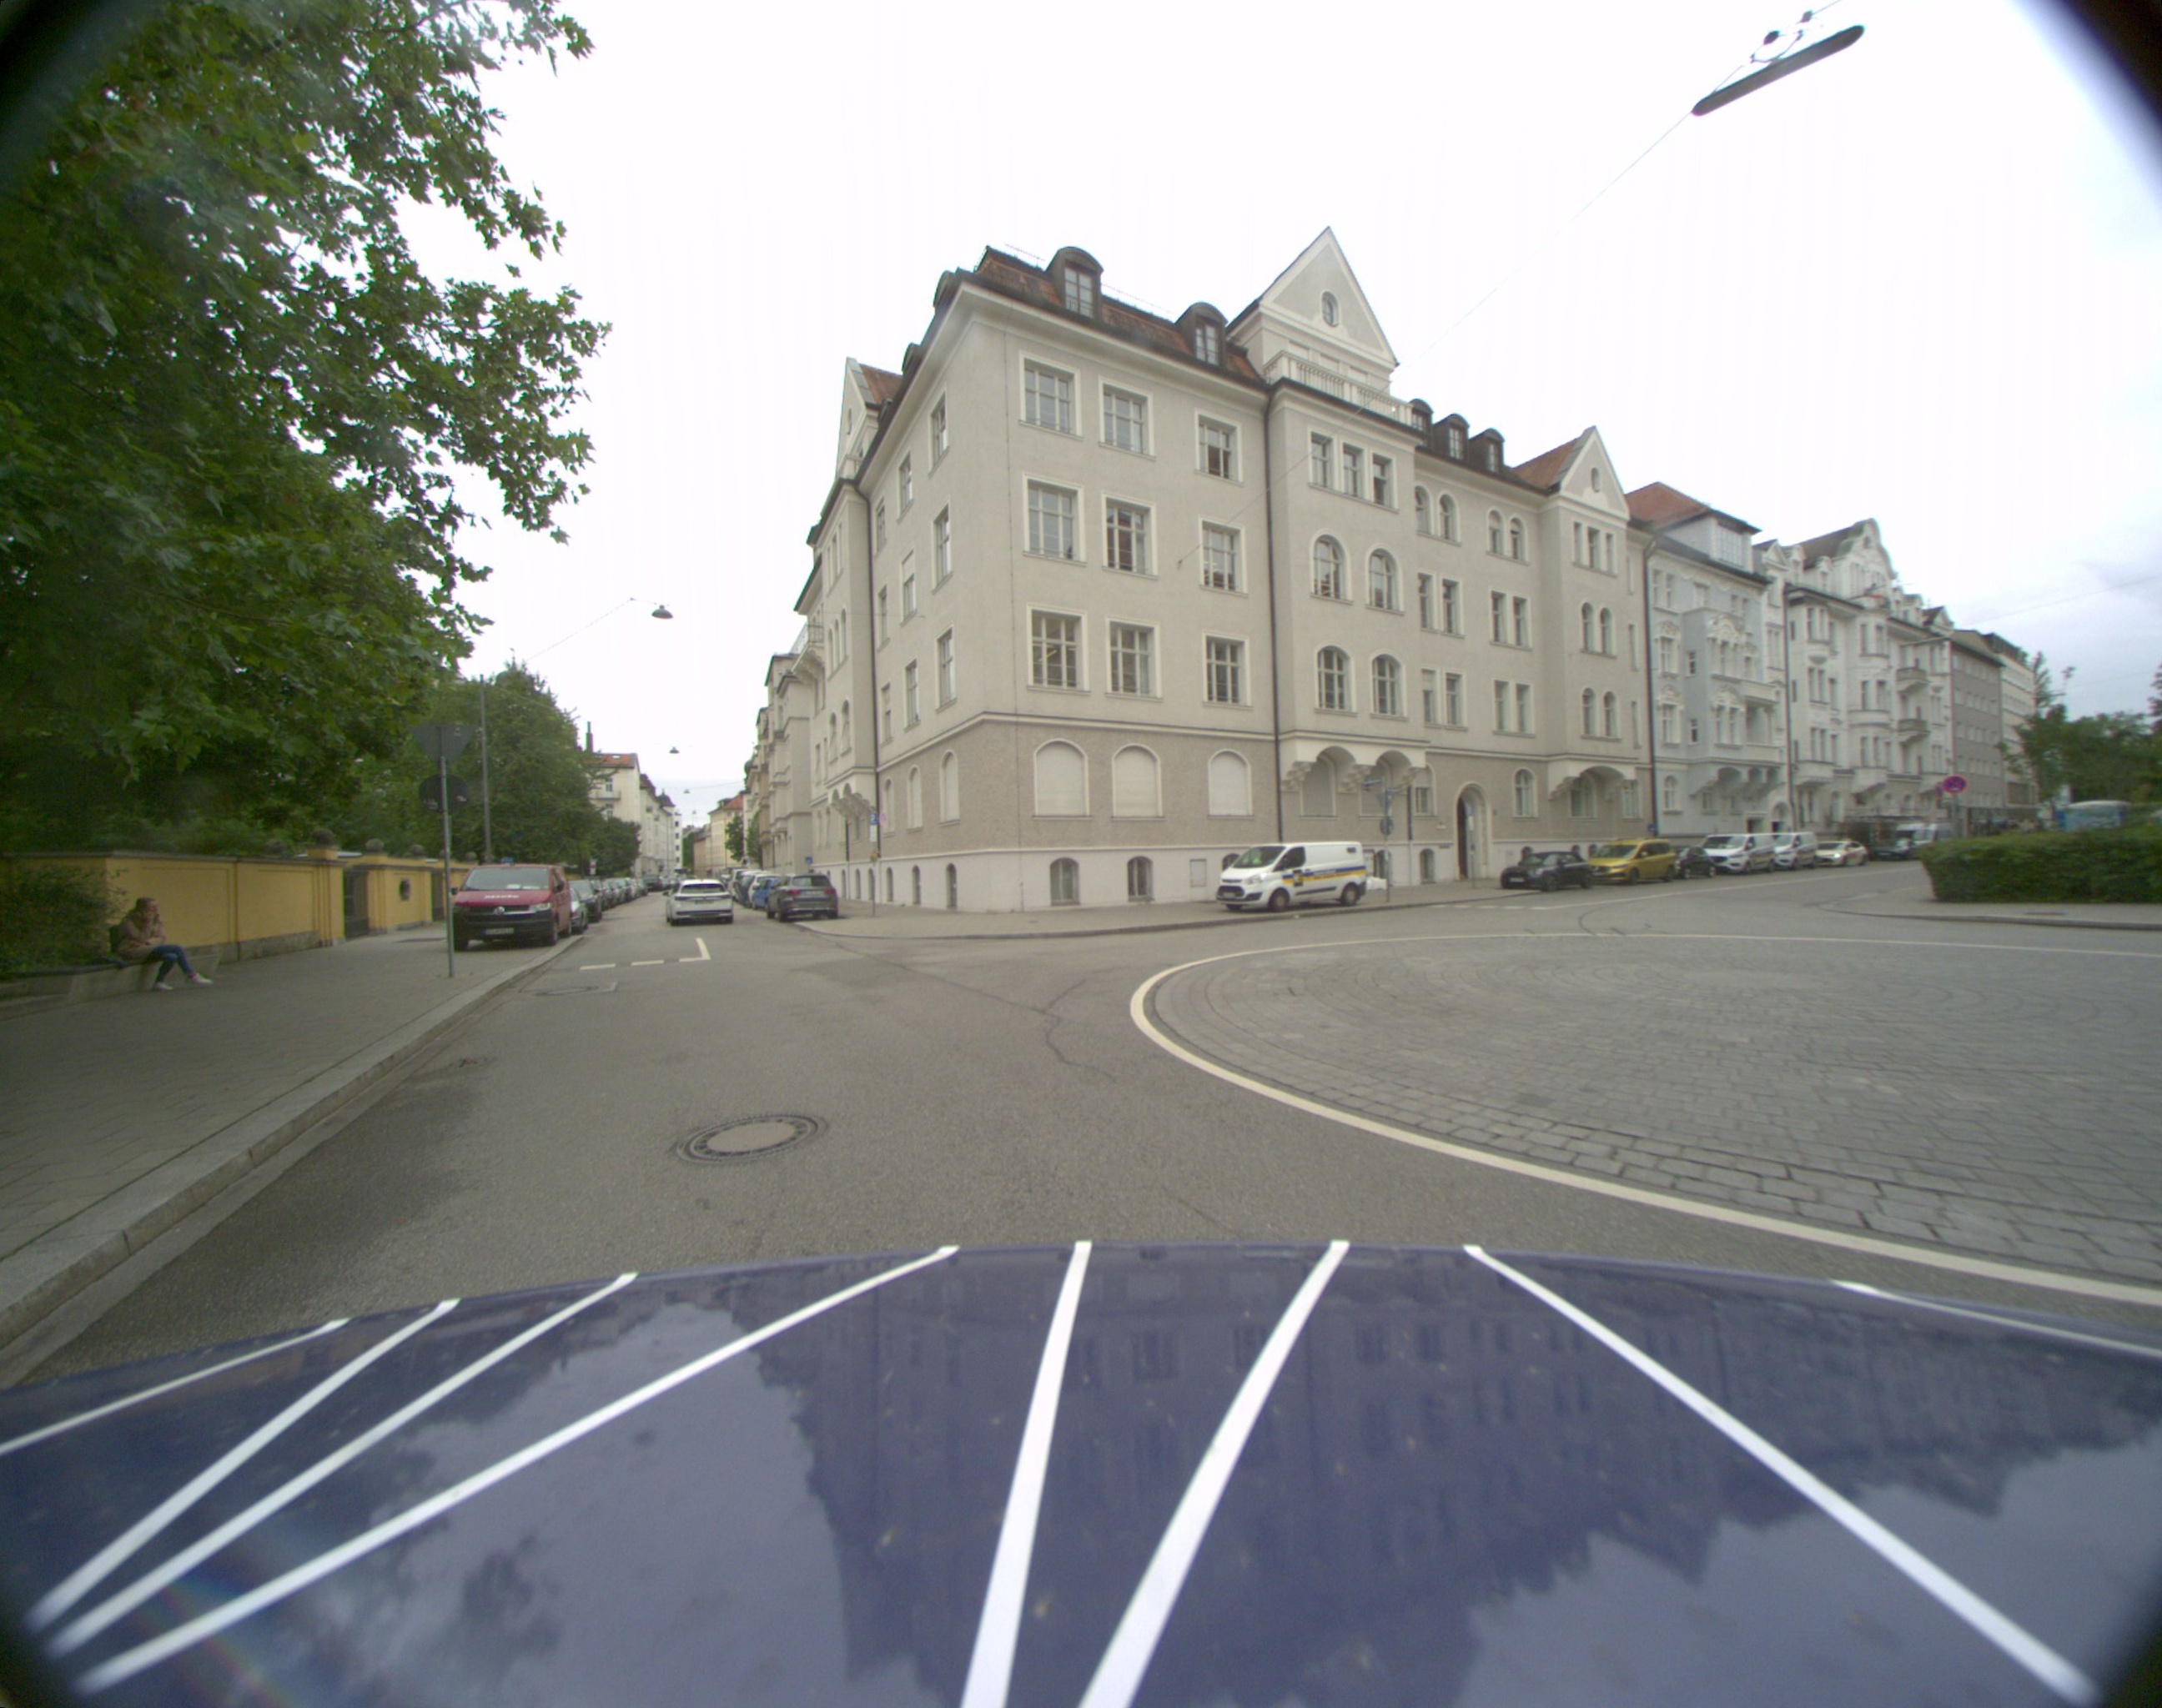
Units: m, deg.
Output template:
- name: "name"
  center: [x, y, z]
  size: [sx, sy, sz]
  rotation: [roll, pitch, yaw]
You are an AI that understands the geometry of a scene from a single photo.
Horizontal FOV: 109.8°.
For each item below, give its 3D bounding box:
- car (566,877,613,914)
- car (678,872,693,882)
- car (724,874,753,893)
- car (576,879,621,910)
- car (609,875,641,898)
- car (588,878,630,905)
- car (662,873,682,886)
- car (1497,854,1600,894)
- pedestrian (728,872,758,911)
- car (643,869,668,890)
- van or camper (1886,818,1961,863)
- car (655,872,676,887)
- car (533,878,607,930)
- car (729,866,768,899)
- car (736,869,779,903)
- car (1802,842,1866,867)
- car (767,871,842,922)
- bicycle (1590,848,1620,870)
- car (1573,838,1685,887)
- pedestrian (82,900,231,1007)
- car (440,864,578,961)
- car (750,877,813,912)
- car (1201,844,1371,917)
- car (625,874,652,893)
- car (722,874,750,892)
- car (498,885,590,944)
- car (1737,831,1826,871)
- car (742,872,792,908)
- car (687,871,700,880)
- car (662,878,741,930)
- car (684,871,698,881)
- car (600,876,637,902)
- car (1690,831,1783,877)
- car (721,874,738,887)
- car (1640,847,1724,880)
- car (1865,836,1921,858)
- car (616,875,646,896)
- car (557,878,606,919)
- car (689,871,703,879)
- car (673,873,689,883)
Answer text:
- name: "car"
  center: [-23.712, 1.961, 36.755]
  size: [1.514, 1.557, 2.863]
  rotation: [-4, 1, -27]
- name: "car"
  center: [-70.954, 4.134, 136.445]
  size: [2.002, 1.585, 4.291]
  rotation: [-5, 1, -24]
- name: "car"
  center: [-27.026, 2.322, 59.938]
  size: [1.865, 1.403, 4.370]
  rotation: [0, -1, -28]
- name: "car"
  center: [-25.524, 2.081, 40.311]
  size: [1.699, 1.406, 4.027]
  rotation: [-4, 1, -29]
- name: "car"
  center: [-32.861, 2.313, 54.841]
  size: [1.721, 1.561, 4.311]
  rotation: [-1, 0, -28]
- name: "car"
  center: [-27.758, 2.149, 44.759]
  size: [1.700, 1.406, 4.506]
  rotation: [-1, 0, -27]
- name: "car"
  center: [-56.076, 3.482, 104.197]
  size: [2.002, 1.585, 4.291]
  rotation: [-5, 1, -24]
- name: "car"
  center: [17.450, 0.719, 28.332]
  size: [3.685, 1.338, 1.693]
  rotation: [-1, 0, -29]
- name: "pedestrian"
  center: [-15.977, 1.763, 35.897]
  size: [0.876, 1.745, 0.964]
  rotation: [-2, 0, 4]
- name: "car"
  center: [-44.510, 2.694, 79.477]
  size: [2.002, 1.949, 4.424]
  rotation: [-5, 1, -28]
- name: "van or camper"
  center: [58.486, -0.987, 52.717]
  size: [6.446, 2.897, 1.995]
  rotation: [-2, 1, -28]
- name: "car"
  center: [-50.891, 3.142, 93.172]
  size: [2.002, 1.585, 4.290]
  rotation: [-5, 1, -27]
- name: "car"
  center: [-19.150, 1.792, 28.657]
  size: [1.893, 1.643, 4.813]
  rotation: [-4, 1, -30]
- name: "car"
  center: [-20.990, 1.770, 47.871]
  size: [1.865, 1.926, 4.947]
  rotation: [0, -1, -28]
- name: "car"
  center: [-18.107, 1.738, 42.439]
  size: [1.755, 1.777, 5.026]
  rotation: [0, -1, -28]
- name: "car"
  center: [42.113, 0.030, 42.493]
  size: [3.544, 1.338, 1.693]
  rotation: [-1, 0, -30]
- name: "car"
  center: [-9.758, 1.413, 26.600]
  size: [1.755, 1.592, 4.486]
  rotation: [0, -1, -29]
- name: "bicycle"
  center: [26.784, 0.253, 38.828]
  size: [1.833, 1.043, 0.491]
  rotation: [-2, 0, -29]
- name: "car"
  center: [22.261, 0.332, 30.843]
  size: [4.141, 1.828, 2.023]
  rotation: [-1, 0, -28]
- name: "pedestrian"
  center: [-12.904, 1.358, 10.653]
  size: [1.014, 1.330, 0.875]
  rotation: [-2, 0, -25]
- name: "car"
  center: [-13.530, 1.263, 18.282]
  size: [1.882, 1.909, 4.877]
  rotation: [-3, 0, -29]
- name: "car"
  center: [-13.144, 1.714, 33.226]
  size: [1.700, 1.406, 3.653]
  rotation: [0, -1, -35]
- name: "car"
  center: [6.082, 0.709, 22.380]
  size: [4.919, 1.869, 1.921]
  rotation: [-2, 0, -31]
- name: "car"
  center: [-36.876, 2.457, 63.408]
  size: [1.721, 1.444, 4.945]
  rotation: [-1, 0, -28]
- name: "car"
  center: [-29.286, 2.409, 64.451]
  size: [1.865, 1.454, 4.370]
  rotation: [0, -1, -28]
- name: "car"
  center: [-16.304, 1.767, 23.279]
  size: [1.893, 1.440, 4.359]
  rotation: [-4, 1, -31]
- name: "car"
  center: [36.918, -0.171, 40.006]
  size: [4.830, 1.982, 2.120]
  rotation: [-1, 0, -31]
- name: "car"
  center: [-15.444, 1.719, 37.296]
  size: [1.755, 1.592, 4.486]
  rotation: [0, -1, -29]
- name: "car"
  center: [-79.007, 4.449, 154.904]
  size: [2.002, 1.585, 4.419]
  rotation: [-5, 1, -23]
- name: "car"
  center: [-12.710, 1.580, 25.256]
  size: [1.893, 1.440, 4.880]
  rotation: [-2, 0, -32]
- name: "car"
  center: [-76.864, 4.347, 149.917]
  size: [2.002, 1.672, 4.291]
  rotation: [-5, 1, -23]
- name: "car"
  center: [-30.452, 2.275, 50.144]
  size: [1.721, 1.561, 4.681]
  rotation: [-1, 0, -28]
- name: "car"
  center: [31.734, 0.003, 36.746]
  size: [4.830, 2.079, 2.119]
  rotation: [-1, 0, -33]
- name: "car"
  center: [-38.401, 2.886, 83.163]
  size: [1.630, 1.421, 3.934]
  rotation: [0, -1, -24]
- name: "car"
  center: [26.562, 0.414, 33.573]
  size: [3.544, 1.338, 1.693]
  rotation: [-1, 0, -30]
- name: "car"
  center: [52.883, -0.455, 49.480]
  size: [3.544, 1.338, 1.693]
  rotation: [-1, 0, -29]
- name: "car"
  center: [-34.954, 2.416, 59.070]
  size: [1.721, 1.444, 4.175]
  rotation: [-1, 0, -28]
- name: "car"
  center: [-21.563, 1.886, 32.891]
  size: [1.491, 1.530, 3.684]
  rotation: [-4, 1, -31]
- name: "car"
  center: [-80.785, 4.393, 159.446]
  size: [2.001, 1.585, 4.292]
  rotation: [-5, 1, -21]
- name: "car"
  center: [-66.617, 3.991, 126.652]
  size: [2.002, 1.585, 4.291]
  rotation: [-5, 1, -24]
